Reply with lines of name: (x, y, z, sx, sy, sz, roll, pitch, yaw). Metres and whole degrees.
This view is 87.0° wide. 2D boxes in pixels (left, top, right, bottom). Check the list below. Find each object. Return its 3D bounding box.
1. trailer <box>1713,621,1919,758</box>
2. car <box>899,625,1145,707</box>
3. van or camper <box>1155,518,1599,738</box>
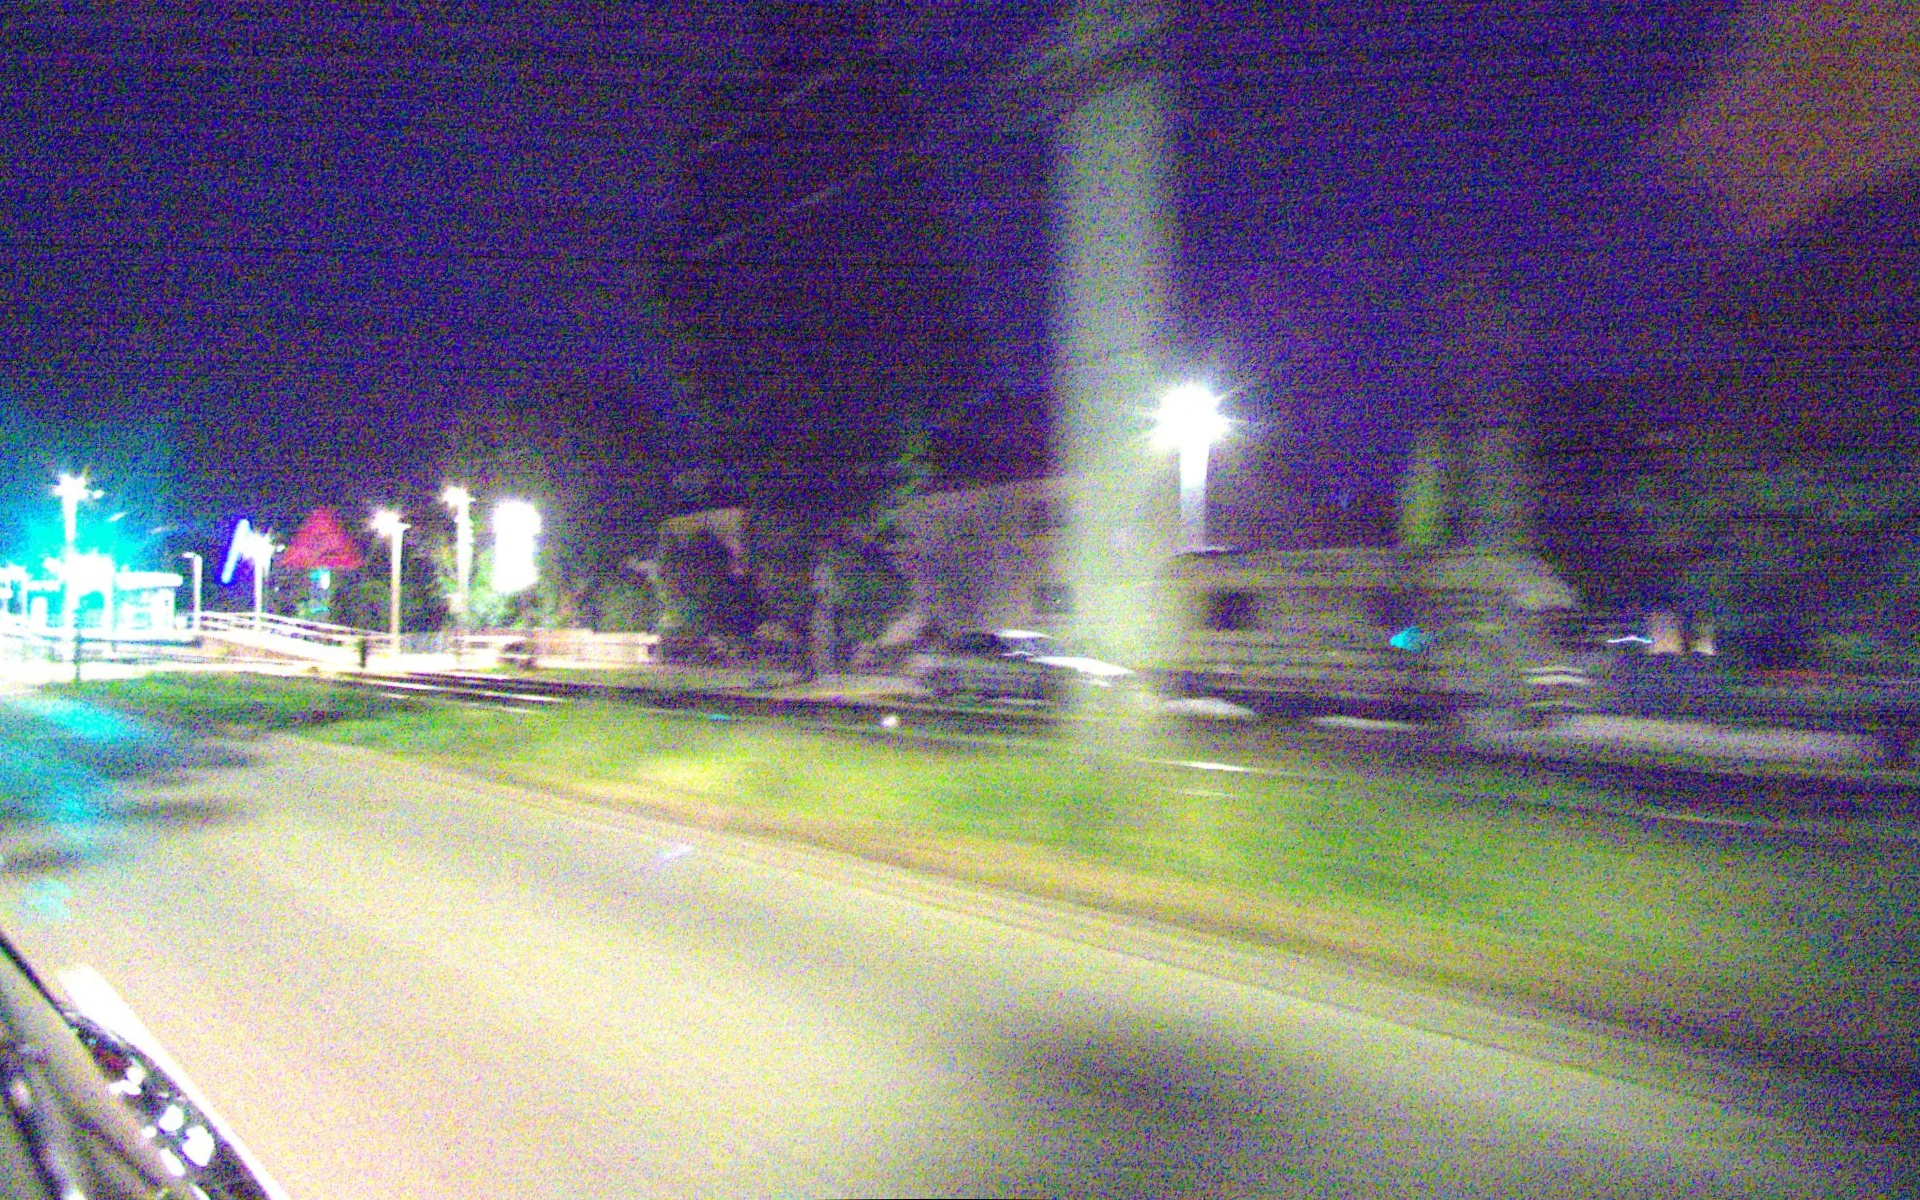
trailer: (11.000, 0.996, 10.617, 2.391, 1.385, 4.659, 7, -6, -43)
car: (1.061, 1.206, 19.022, 4.540, 1.350, 1.628, -1, -6, 41)
van or camper: (5.956, 0.451, 14.903, 5.655, 2.668, 2.251, -1, -4, 38)
